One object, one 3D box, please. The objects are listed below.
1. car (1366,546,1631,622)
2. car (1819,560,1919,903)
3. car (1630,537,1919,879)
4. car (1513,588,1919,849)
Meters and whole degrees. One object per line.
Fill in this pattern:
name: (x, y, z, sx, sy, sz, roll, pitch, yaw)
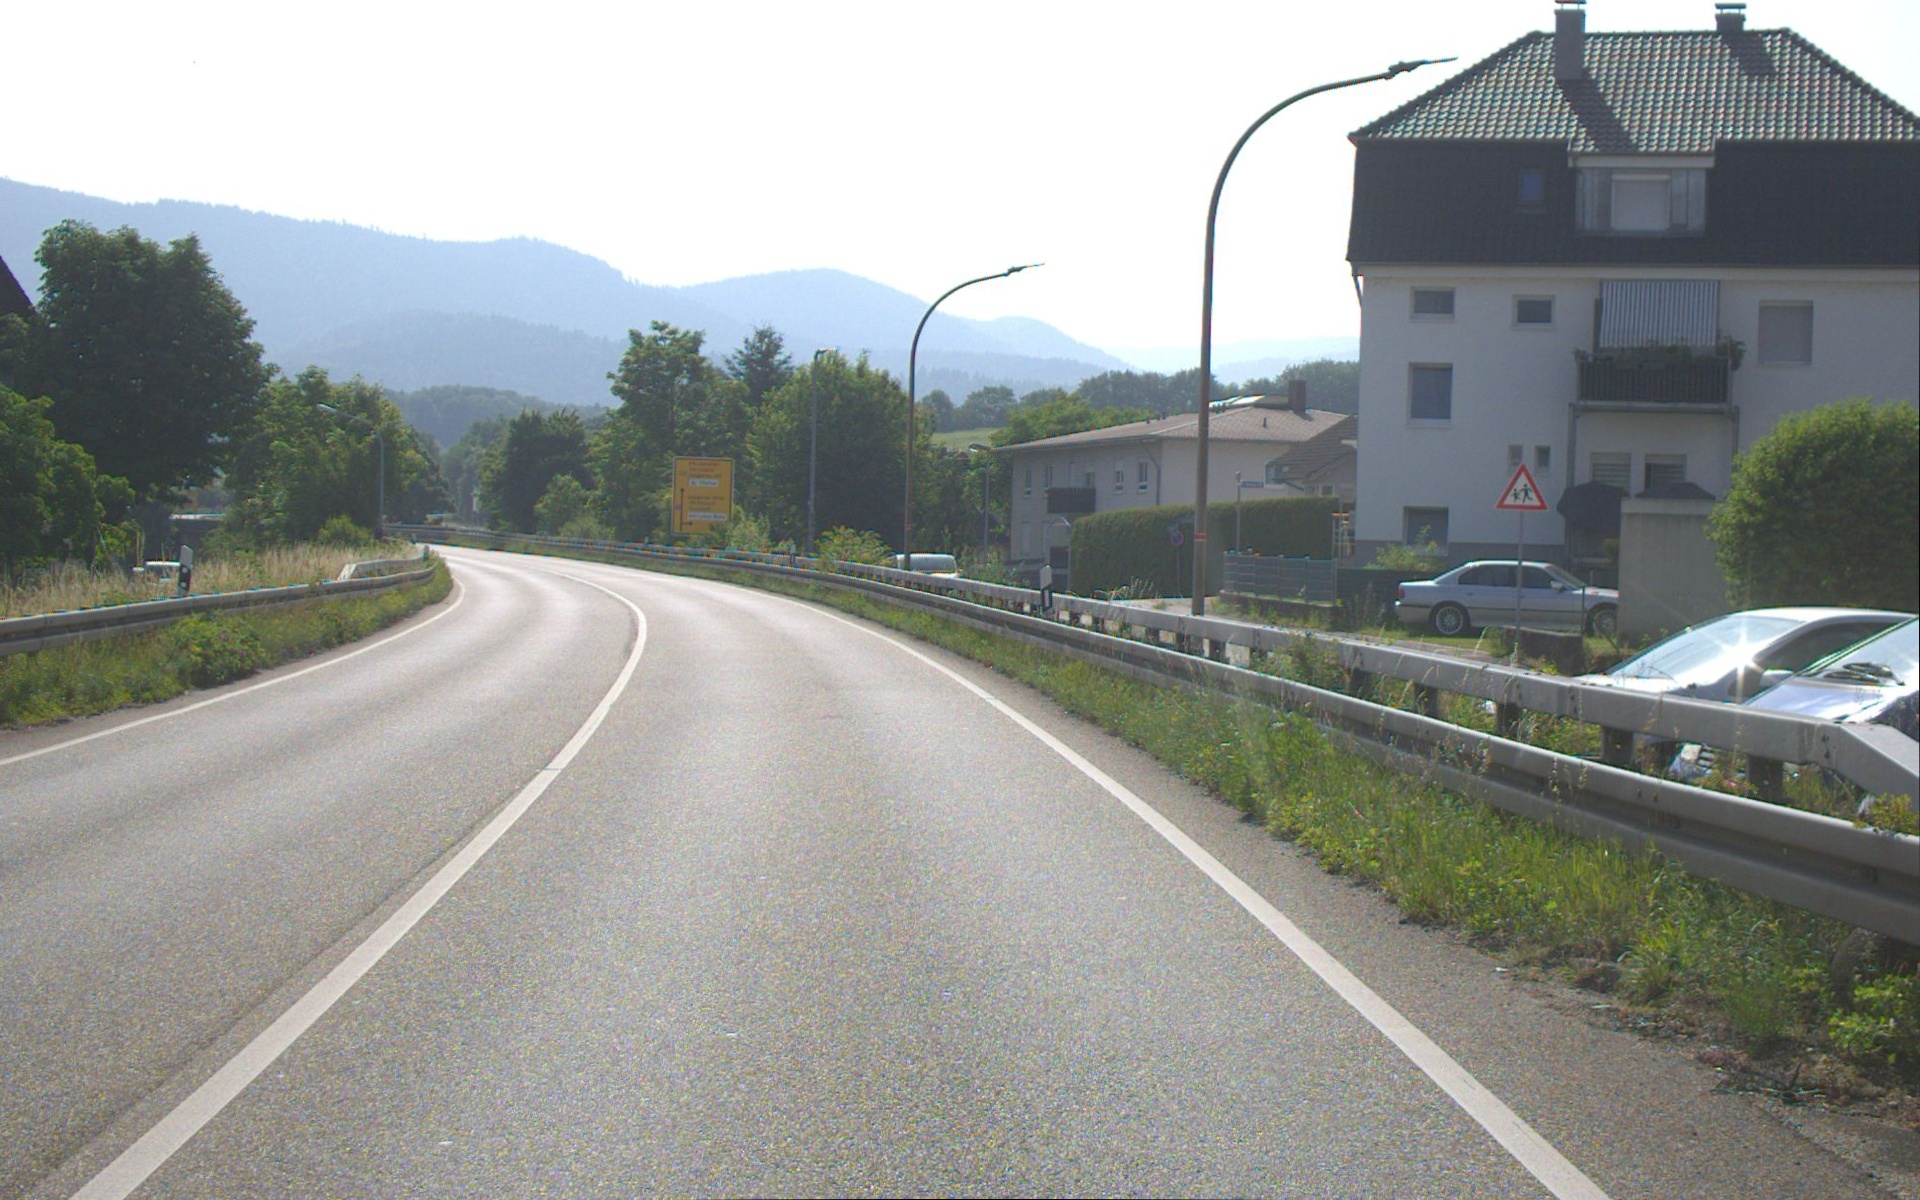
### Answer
car: (10.071, -0.310, 64.296, 4.601, 1.343, 1.753, 0, 2, 23)
car: (6.015, 0.695, 14.899, 3.986, 1.444, 1.765, 4, 0, -11)
car: (5.817, 0.633, 17.438, 4.232, 1.567, 1.919, 4, 0, -14)
car: (5.089, 0.703, 20.084, 3.262, 1.372, 1.550, 3, 0, -13)
